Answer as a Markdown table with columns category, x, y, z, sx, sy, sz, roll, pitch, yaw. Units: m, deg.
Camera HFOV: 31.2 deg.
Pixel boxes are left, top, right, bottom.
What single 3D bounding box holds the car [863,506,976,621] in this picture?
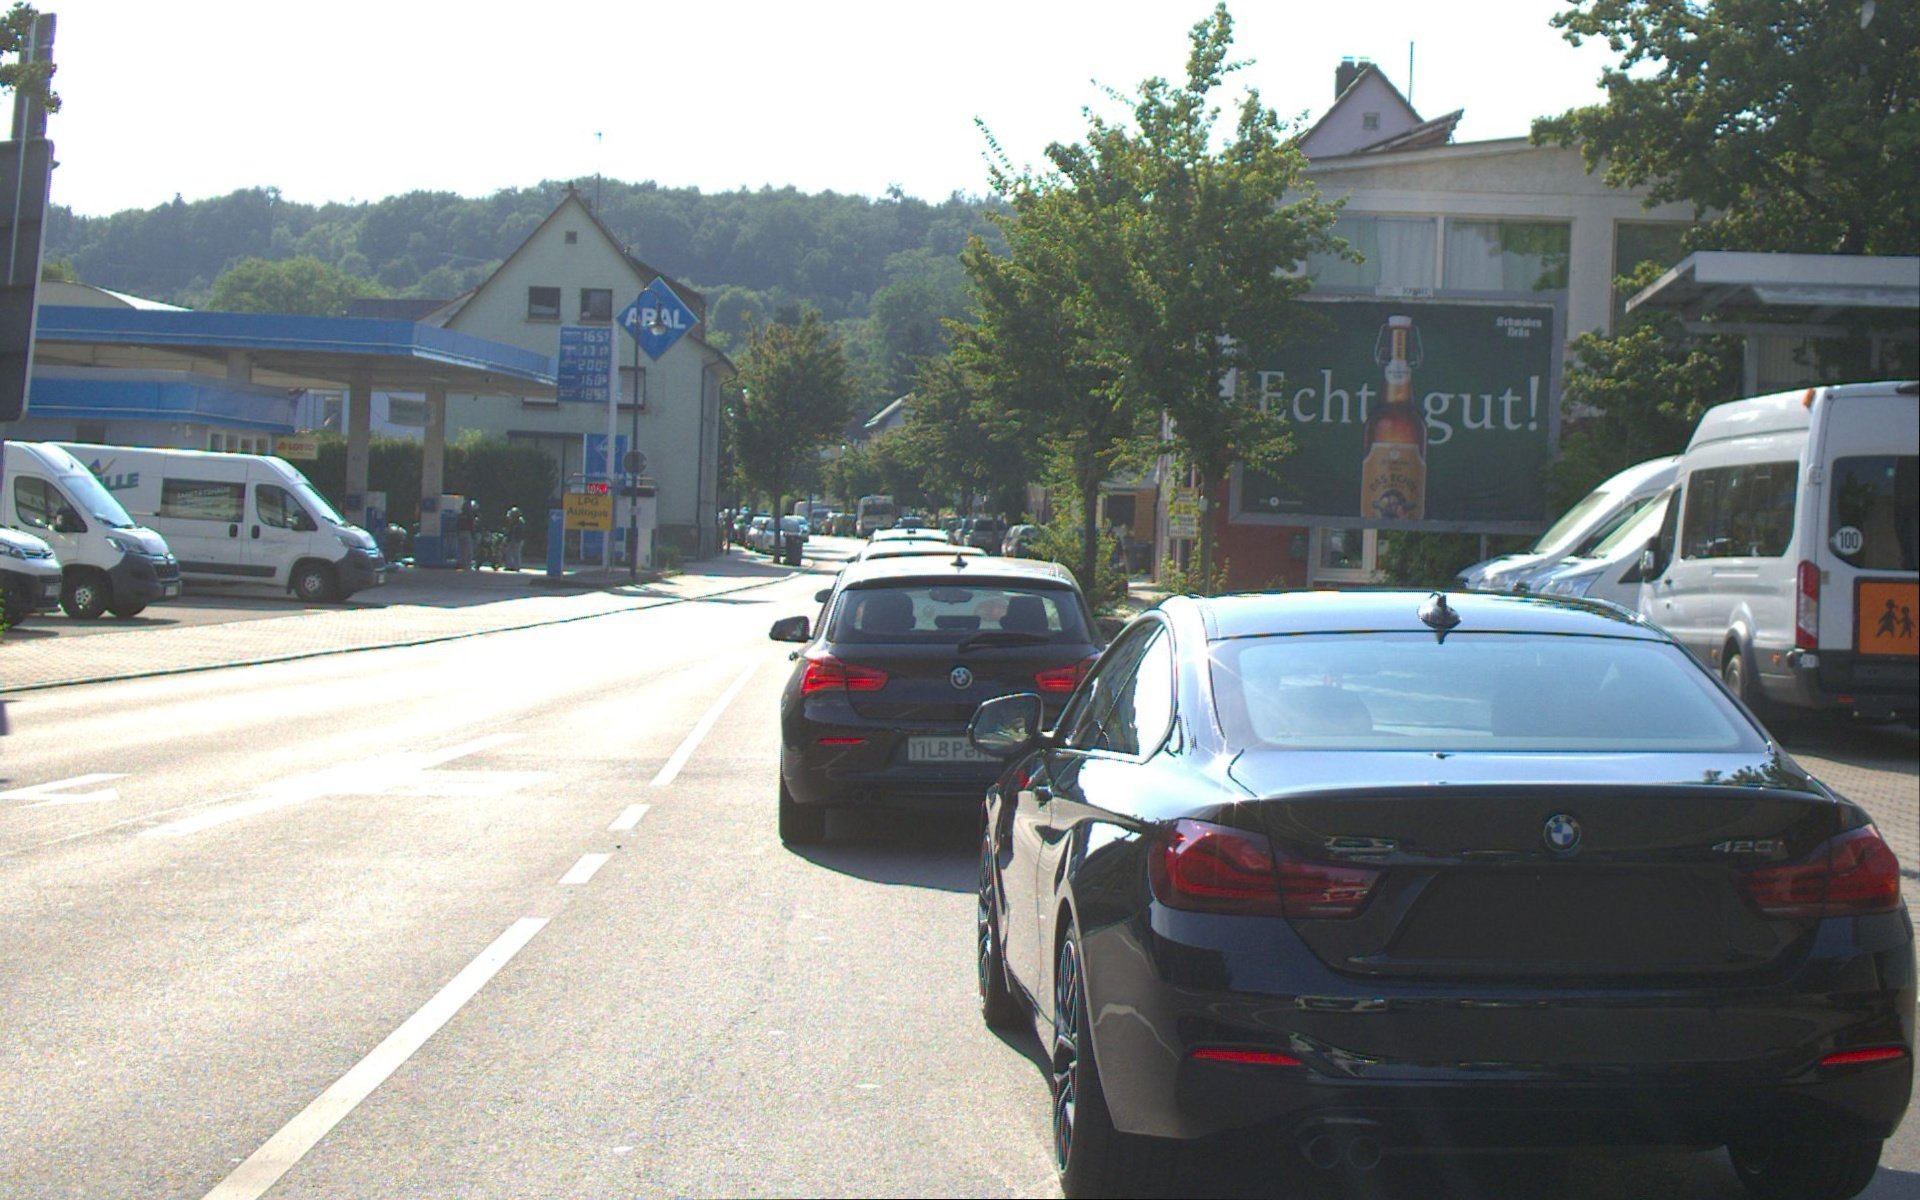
| category | x | y | z | sx | sy | sz | roll | pitch | yaw |
| --- | --- | --- | --- | --- | --- | --- | --- | --- | --- |
| car | -0.628 | -0.619 | 55.468 | 1.603 | 1.761 | 3.411 | 2 | 2 | 2 |

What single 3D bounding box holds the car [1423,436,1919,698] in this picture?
| category | x | y | z | sx | sy | sz | roll | pitch | yaw |
| --- | --- | --- | --- | --- | --- | --- | --- | --- | --- |
| car | 7.980 | -0.342 | 35.424 | 6.043 | 2.507 | 2.044 | 1 | 2 | -2 |

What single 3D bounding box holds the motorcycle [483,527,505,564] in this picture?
| category | x | y | z | sx | sy | sz | roll | pitch | yaw |
| --- | --- | --- | --- | --- | --- | --- | --- | --- | --- |
| motorcycle | -12.136 | -1.418 | 89.632 | 0.363 | 0.940 | 1.696 | 1 | 2 | -1 |

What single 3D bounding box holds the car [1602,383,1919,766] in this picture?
| category | x | y | z | sx | sy | sz | roll | pitch | yaw |
| --- | --- | --- | --- | --- | --- | --- | --- | --- | --- |
| car | 6.928 | -0.259 | 27.426 | 2.149 | 2.671 | 6.604 | 1 | 2 | -1 |

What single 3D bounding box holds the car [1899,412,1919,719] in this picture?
| category | x | y | z | sx | sy | sz | roll | pitch | yaw |
| --- | --- | --- | --- | --- | --- | --- | --- | --- | --- |
| car | 9.620 | -0.204 | 27.673 | 2.111 | 2.712 | 6.444 | 1 | 2 | -2 |

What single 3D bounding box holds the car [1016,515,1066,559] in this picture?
| category | x | y | z | sx | sy | sz | roll | pitch | yaw |
| --- | --- | --- | --- | --- | --- | --- | --- | --- | --- |
| car | 2.917 | -2.296 | 124.510 | 1.597 | 1.480 | 3.475 | 2 | 2 | -1 |

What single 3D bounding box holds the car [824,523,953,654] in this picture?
| category | x | y | z | sx | sy | sz | roll | pitch | yaw |
| --- | --- | --- | --- | --- | --- | --- | --- | --- | --- |
| car | -0.940 | -0.187 | 45.498 | 1.591 | 1.594 | 3.894 | 1 | 2 | -1 |

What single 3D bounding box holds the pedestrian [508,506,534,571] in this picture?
| category | x | y | z | sx | sy | sz | roll | pitch | yaw |
| --- | --- | --- | --- | --- | --- | --- | --- | --- | --- |
| pedestrian | -11.487 | -1.611 | 89.966 | 0.610 | 1.664 | 0.442 | 1 | 1 | -3 |

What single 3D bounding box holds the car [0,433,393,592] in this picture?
| category | x | y | z | sx | sy | sz | roll | pitch | yaw |
| --- | --- | --- | --- | --- | --- | --- | --- | --- | --- |
| car | -13.052 | -1.505 | 59.009 | 6.158 | 2.436 | 2.249 | 2 | 2 | 1 |

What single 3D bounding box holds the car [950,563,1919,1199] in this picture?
| category | x | y | z | sx | sy | sz | roll | pitch | yaw |
| --- | --- | --- | --- | --- | --- | --- | --- | --- | --- |
| car | 0.984 | 0.643 | 8.852 | 1.699 | 1.364 | 4.263 | 1 | 2 | -4 |

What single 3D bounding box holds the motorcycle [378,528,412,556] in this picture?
| category | x | y | z | sx | sy | sz | roll | pitch | yaw |
| --- | --- | --- | --- | --- | --- | --- | --- | --- | --- |
| motorcycle | -14.807 | -1.525 | 90.092 | 0.459 | 0.727 | 1.473 | 1 | 1 | 7 |

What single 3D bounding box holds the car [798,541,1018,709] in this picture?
| category | x | y | z | sx | sy | sz | roll | pitch | yaw |
| --- | --- | --- | --- | --- | --- | --- | --- | --- | --- |
| car | -0.539 | 0.194 | 32.278 | 1.753 | 1.409 | 3.423 | 1 | 2 | -6 |

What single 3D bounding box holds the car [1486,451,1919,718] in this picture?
| category | x | y | z | sx | sy | sz | roll | pitch | yaw |
| --- | --- | --- | --- | --- | --- | --- | --- | --- | --- |
| car | 8.189 | -0.141 | 32.450 | 6.043 | 2.355 | 2.044 | 1 | 2 | -2 |

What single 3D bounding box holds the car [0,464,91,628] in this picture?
| category | x | y | z | sx | sy | sz | roll | pitch | yaw |
| --- | --- | --- | --- | --- | --- | --- | --- | --- | --- |
| car | -13.757 | -0.781 | 43.431 | 4.976 | 1.992 | 1.935 | 3 | 1 | 3 |

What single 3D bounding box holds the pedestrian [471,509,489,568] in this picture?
| category | x | y | z | sx | sy | sz | roll | pitch | yaw |
| --- | --- | --- | --- | --- | --- | --- | --- | --- | --- |
| pedestrian | -12.576 | -1.606 | 90.077 | 0.407 | 1.541 | 0.433 | 1 | 1 | -3 |

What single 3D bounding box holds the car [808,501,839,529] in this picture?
| category | x | y | z | sx | sy | sz | roll | pitch | yaw |
| --- | --- | --- | --- | --- | --- | --- | --- | --- | --- |
| car | -7.593 | -4.729 | 191.413 | 1.597 | 1.480 | 3.475 | 2 | 2 | -1 |

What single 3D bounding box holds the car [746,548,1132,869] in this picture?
| category | x | y | z | sx | sy | sz | roll | pitch | yaw |
| --- | --- | --- | --- | --- | --- | --- | --- | --- | --- |
| car | -0.062 | 0.481 | 17.841 | 1.771 | 1.451 | 3.516 | 1 | 1 | 1 |

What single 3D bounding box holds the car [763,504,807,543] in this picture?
| category | x | y | z | sx | sy | sz | roll | pitch | yaw |
| --- | --- | --- | --- | --- | --- | --- | --- | --- | --- |
| car | -6.960 | -3.050 | 136.916 | 1.597 | 1.480 | 3.475 | 2 | 2 | -1 |

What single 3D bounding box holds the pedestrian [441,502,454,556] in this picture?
| category | x | y | z | sx | sy | sz | roll | pitch | yaw |
| --- | --- | --- | --- | --- | --- | --- | --- | --- | --- |
| pedestrian | -13.290 | -1.846 | 89.223 | 0.262 | 1.378 | 0.288 | 1 | 1 | 0 |

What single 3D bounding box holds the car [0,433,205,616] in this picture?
| category | x | y | z | sx | sy | sz | roll | pitch | yaw |
| --- | --- | --- | --- | --- | --- | --- | --- | --- | --- |
| car | -14.070 | -1.169 | 49.230 | 5.921 | 2.471 | 2.193 | 3 | 2 | 5 |

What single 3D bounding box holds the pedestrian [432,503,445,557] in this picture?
| category | x | y | z | sx | sy | sz | roll | pitch | yaw |
| --- | --- | --- | --- | --- | --- | --- | --- | --- | --- |
| pedestrian | -13.423 | -1.804 | 88.432 | 0.287 | 1.362 | 0.263 | 1 | 1 | -4 |
